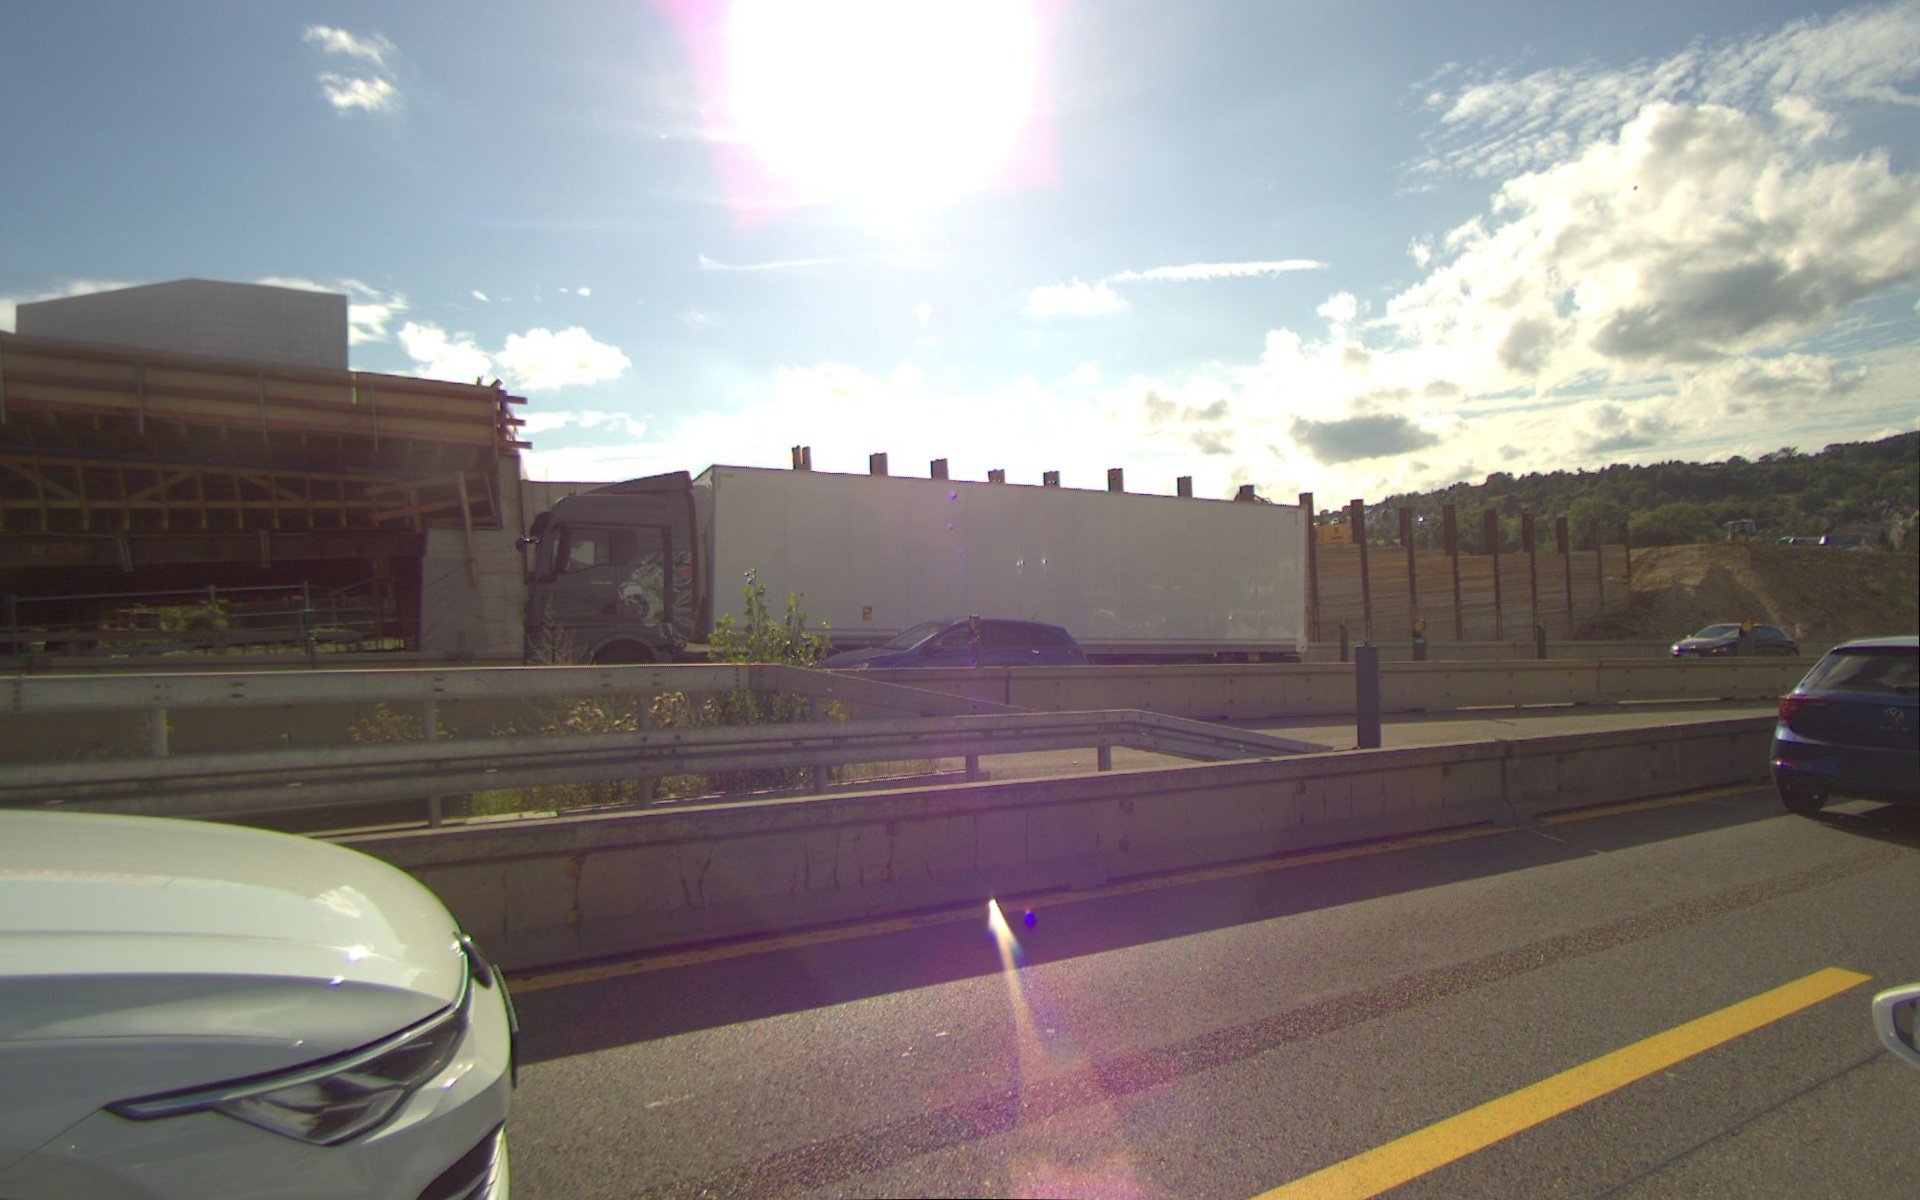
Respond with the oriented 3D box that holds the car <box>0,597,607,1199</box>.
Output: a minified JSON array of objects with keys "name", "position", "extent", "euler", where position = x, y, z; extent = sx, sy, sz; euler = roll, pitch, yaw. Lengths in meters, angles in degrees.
[{"name":"car","position":[-2.974,0.731,1.339],"extent":[4.464,1.510,1.762],"euler":[2,-3,-31]}]

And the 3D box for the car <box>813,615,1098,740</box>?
[{"name":"car","position":[-0.071,1.161,15.967],"extent":[4.069,1.749,1.986],"euler":[2,-1,-27]}]

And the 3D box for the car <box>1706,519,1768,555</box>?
[{"name":"car","position":[59.456,-4.804,76.859],"extent":[5.264,2.167,1.984],"euler":[2,-6,-33]}]

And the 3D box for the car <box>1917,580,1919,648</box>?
[{"name":"car","position":[37.810,0.585,36.928],"extent":[5.797,2.434,2.248],"euler":[2,-1,-30]}]

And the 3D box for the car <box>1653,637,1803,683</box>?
[{"name":"car","position":[23.391,1.822,30.597],"extent":[3.942,1.289,1.916],"euler":[2,-1,-22]}]

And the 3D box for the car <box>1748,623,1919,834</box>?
[{"name":"car","position":[8.271,1.006,8.091],"extent":[3.954,1.440,1.713],"euler":[4,-2,-31]}]

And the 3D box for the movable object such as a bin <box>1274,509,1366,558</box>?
[{"name":"movable object such as a bin","position":[29.476,-5.379,82.501],"extent":[4.442,3.314,5.739],"euler":[2,-1,-20]}]

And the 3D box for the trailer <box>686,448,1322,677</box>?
[{"name":"trailer","position":[1.440,-0.436,21.207],"extent":[13.615,3.892,2.813],"euler":[2,-1,-25]}]

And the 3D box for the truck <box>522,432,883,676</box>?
[{"name":"truck","position":[-4.699,-0.630,18.334],"extent":[5.936,3.838,2.769],"euler":[2,-1,-25]}]
